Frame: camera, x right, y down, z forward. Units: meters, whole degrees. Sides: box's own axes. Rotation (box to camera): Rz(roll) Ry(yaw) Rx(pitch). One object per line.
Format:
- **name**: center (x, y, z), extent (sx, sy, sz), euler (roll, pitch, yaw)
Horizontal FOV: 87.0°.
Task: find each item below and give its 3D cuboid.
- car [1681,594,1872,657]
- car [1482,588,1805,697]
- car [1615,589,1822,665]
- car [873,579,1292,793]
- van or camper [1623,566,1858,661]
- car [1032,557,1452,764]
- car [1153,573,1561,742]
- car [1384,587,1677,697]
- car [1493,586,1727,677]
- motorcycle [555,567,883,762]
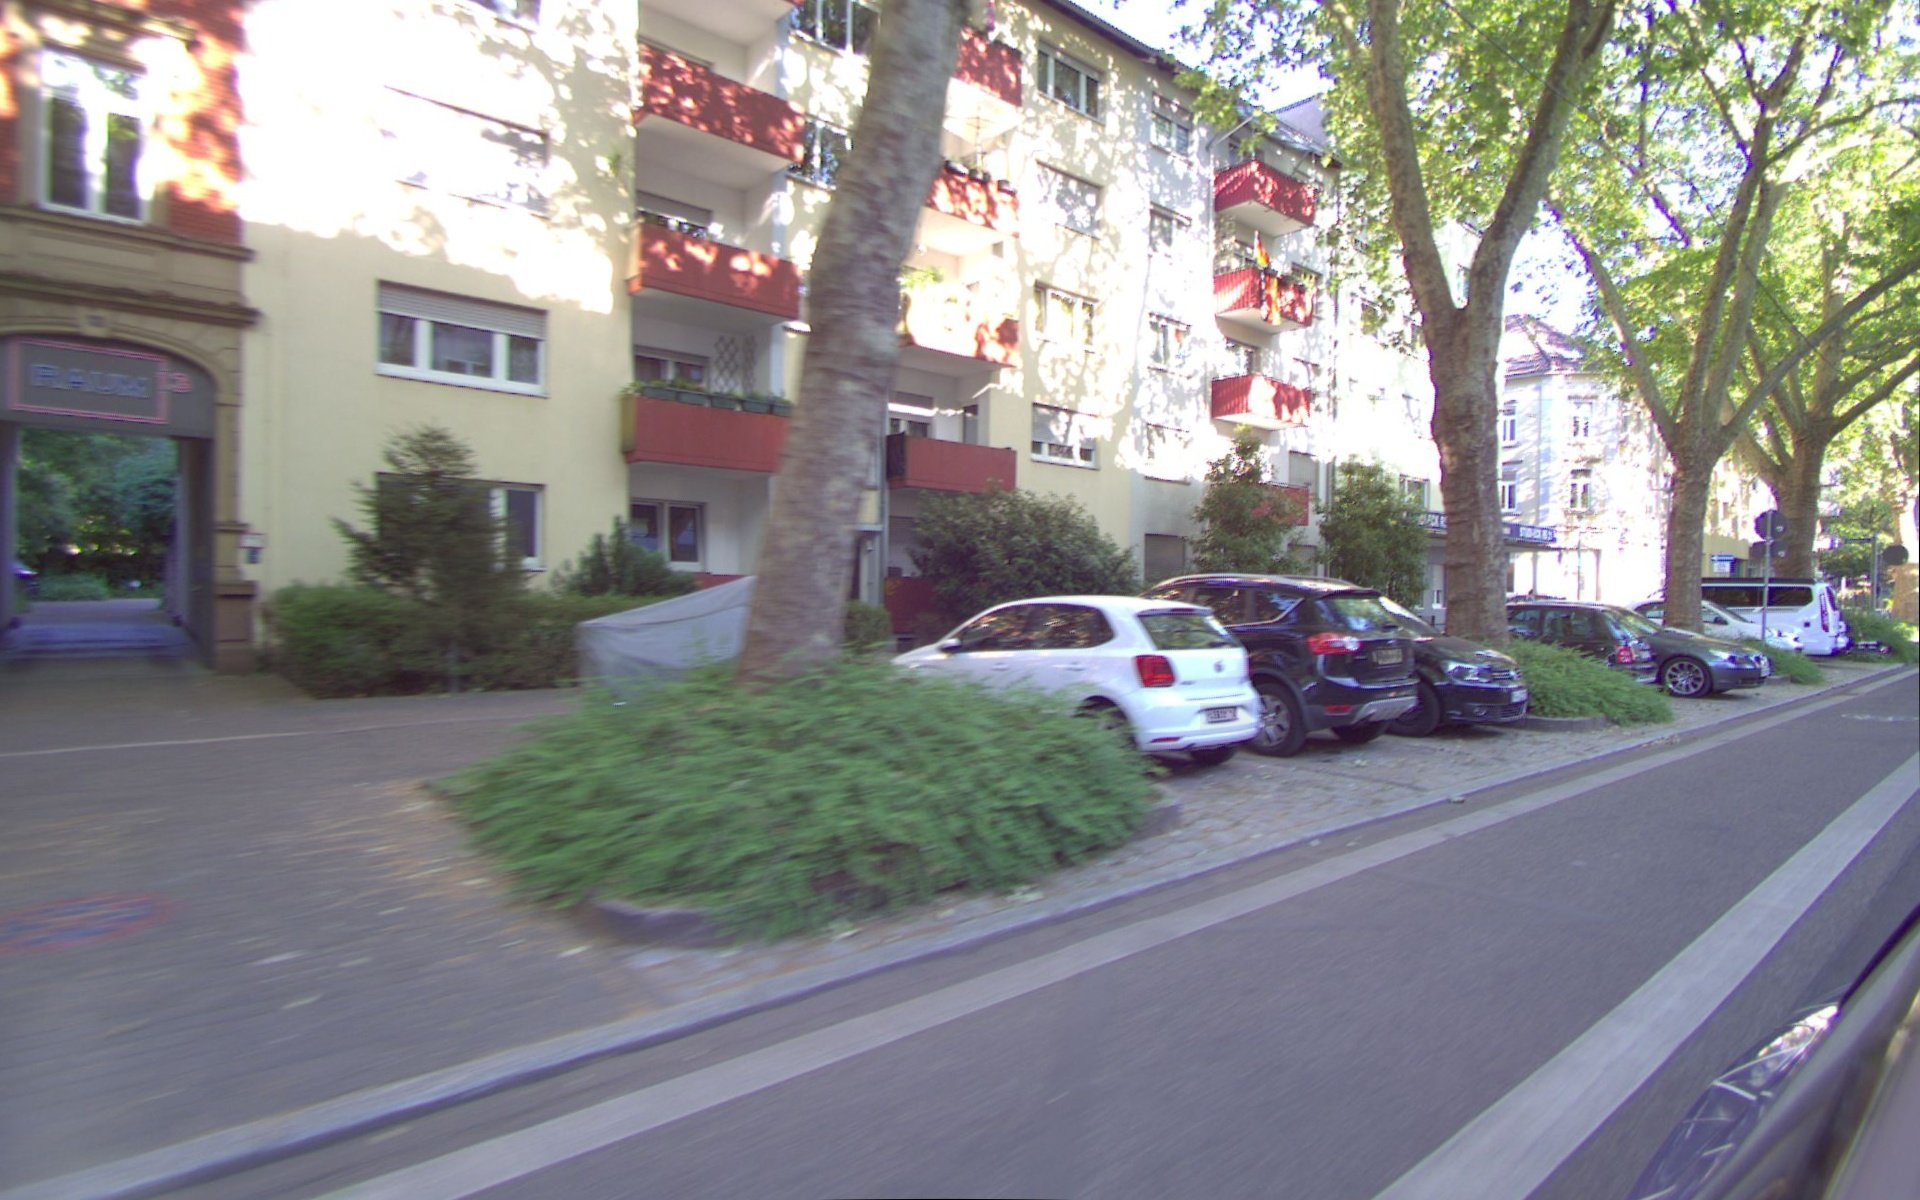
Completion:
- **car**: center (21.259, 0.604, 26.463), extent (1.694, 1.457, 3.573), euler (0, 1, -37)
- **car**: center (11.519, 0.610, 17.309), extent (1.877, 1.500, 4.206), euler (0, 2, -39)
- **car**: center (17.371, 0.547, 23.279), extent (1.649, 1.550, 3.568), euler (0, 1, -42)
- **car**: center (0.948, 0.589, 9.209), extent (1.632, 1.514, 3.614), euler (0, 1, -42)
- **van or camper**: center (19.262, 0.239, 25.116), extent (1.808, 2.136, 4.381), euler (0, 2, -43)
- **car**: center (2.806, 0.475, 10.773), extent (1.773, 1.767, 4.002), euler (1, 1, -40)
- **car**: center (4.619, 0.525, 12.279), extent (1.713, 1.673, 4.296), euler (0, 1, -43)
- **car**: center (9.166, 0.581, 16.481), extent (1.671, 1.461, 3.831), euler (0, 2, -43)
- **car**: center (12.549, 0.537, 19.681), extent (1.615, 1.500, 3.481), euler (0, 2, -40)
- **motorcycle**: center (-2.049, 0.484, 9.017), extent (2.769, 1.497, 0.841), euler (0, 1, -41)
